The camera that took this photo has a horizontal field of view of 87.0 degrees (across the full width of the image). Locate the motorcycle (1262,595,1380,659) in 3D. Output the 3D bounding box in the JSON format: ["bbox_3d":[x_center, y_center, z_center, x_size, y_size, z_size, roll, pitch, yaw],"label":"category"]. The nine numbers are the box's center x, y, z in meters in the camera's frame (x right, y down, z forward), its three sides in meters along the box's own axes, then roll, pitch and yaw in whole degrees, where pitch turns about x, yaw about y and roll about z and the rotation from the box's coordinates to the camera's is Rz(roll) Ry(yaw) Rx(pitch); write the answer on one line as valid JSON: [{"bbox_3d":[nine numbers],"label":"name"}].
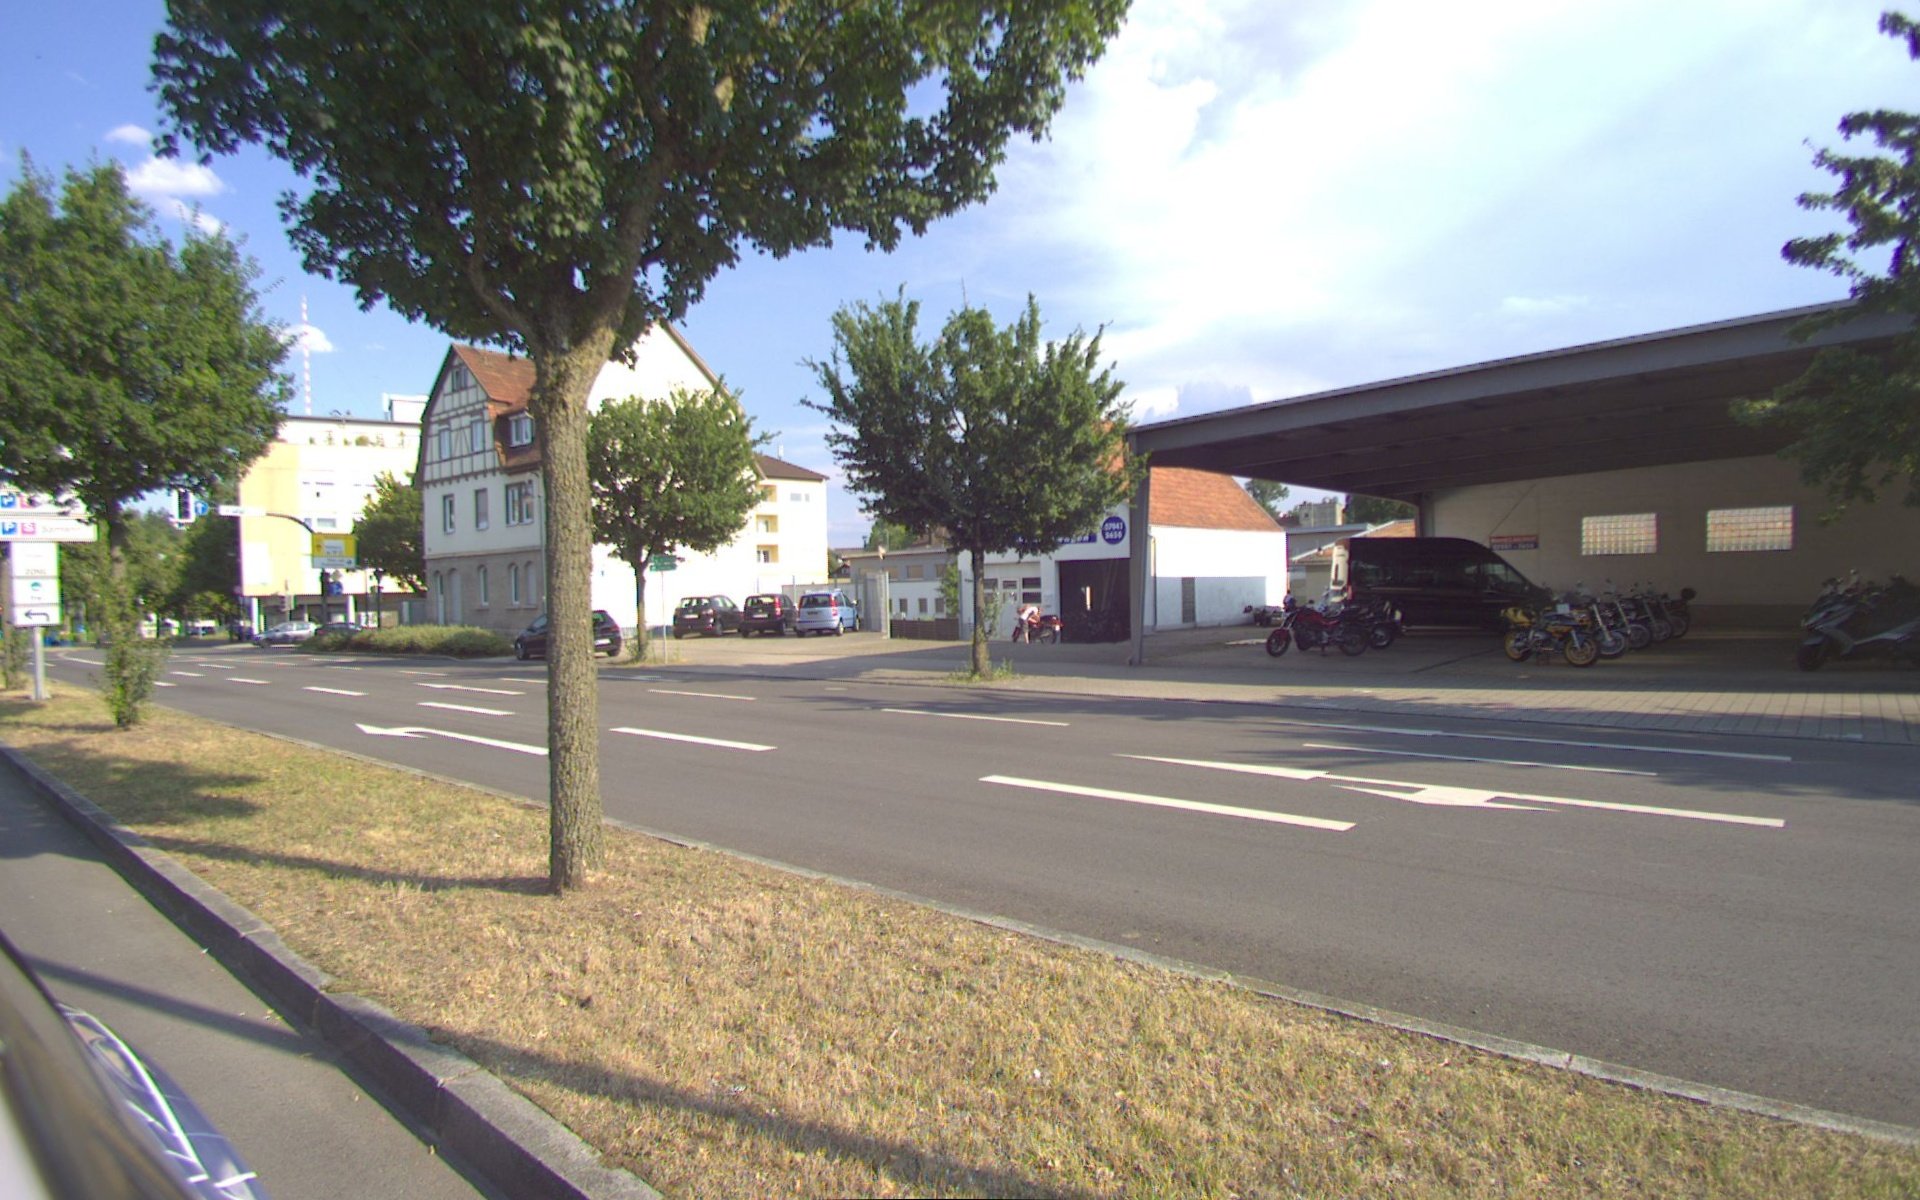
[{"bbox_3d":[7.514,0.560,21.145,2.202,1.290,0.629,-1,0,11],"label":"motorcycle"}]

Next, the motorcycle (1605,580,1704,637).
[{"bbox_3d":[17.308,0.219,25.289,0.621,1.347,2.269,-1,0,-9],"label":"motorcycle"}]

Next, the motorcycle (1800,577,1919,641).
[{"bbox_3d":[20.246,0.206,22.630,2.103,1.306,0.628,-3,-1,17],"label":"motorcycle"}]

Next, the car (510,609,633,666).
[{"bbox_3d":[-11.583,1.078,30.060,3.823,1.462,1.795,-1,2,42],"label":"car"}]

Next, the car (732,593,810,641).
[{"bbox_3d":[-6.905,0.585,37.291,1.797,1.512,3.819,-3,2,5],"label":"car"}]

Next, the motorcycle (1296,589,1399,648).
[{"bbox_3d":[9.396,0.451,24.593,2.198,1.372,0.630,-1,0,5],"label":"motorcycle"}]

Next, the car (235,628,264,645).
[{"bbox_3d":[-79.492,4.057,113.260,1.752,1.706,4.013,-1,0,-21],"label":"car"}]

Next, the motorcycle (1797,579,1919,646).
[{"bbox_3d":[19.052,0.256,21.275,2.103,1.306,0.628,-3,-1,17],"label":"motorcycle"}]

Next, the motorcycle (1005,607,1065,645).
[{"bbox_3d":[2.451,0.838,33.195,1.974,1.194,0.577,-1,0,41],"label":"motorcycle"}]

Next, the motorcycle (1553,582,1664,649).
[{"bbox_3d":[13.882,0.323,21.755,0.621,1.347,2.269,-1,0,-9],"label":"motorcycle"}]

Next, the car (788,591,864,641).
[{"bbox_3d":[-4.666,0.519,35.662,1.797,1.512,3.819,-3,2,5],"label":"car"}]

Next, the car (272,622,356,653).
[{"bbox_3d":[-37.077,2.126,58.079,3.934,1.644,1.865,-1,0,-36],"label":"car"}]

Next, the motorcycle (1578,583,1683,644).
[{"bbox_3d":[15.554,0.301,23.565,0.621,1.347,2.269,-1,0,-9],"label":"motorcycle"}]

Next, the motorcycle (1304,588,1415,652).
[{"bbox_3d":[8.974,0.449,22.789,2.198,1.372,0.630,-1,0,5],"label":"motorcycle"}]

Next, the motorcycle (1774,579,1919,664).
[{"bbox_3d":[14.931,0.360,16.761,2.103,1.306,0.628,-3,-1,17],"label":"motorcycle"}]

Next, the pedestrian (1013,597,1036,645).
[{"bbox_3d":[2.089,0.675,32.749,0.485,1.530,0.496,-1,0,41],"label":"pedestrian"}]

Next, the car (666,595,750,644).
[{"bbox_3d":[-9.305,0.689,37.683,1.797,1.512,3.819,-3,2,5],"label":"car"}]

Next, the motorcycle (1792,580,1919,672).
[{"bbox_3d":[13.879,0.373,15.101,2.103,1.306,0.628,-3,-1,17],"label":"motorcycle"}]

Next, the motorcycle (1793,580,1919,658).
[{"bbox_3d":[16.549,0.339,18.334,2.103,1.306,0.628,-3,-1,17],"label":"motorcycle"}]

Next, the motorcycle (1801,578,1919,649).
[{"bbox_3d":[18.063,0.268,19.974,2.103,1.306,0.628,-3,-1,17],"label":"motorcycle"}]

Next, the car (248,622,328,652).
[{"bbox_3d":[-40.483,2.217,60.982,3.934,1.644,1.865,-1,0,-36],"label":"car"}]

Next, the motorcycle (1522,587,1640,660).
[{"bbox_3d":[12.176,0.436,19.941,0.621,1.347,2.269,-1,0,-9],"label":"motorcycle"}]

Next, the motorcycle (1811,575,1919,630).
[{"bbox_3d":[23.751,0.073,26.507,2.103,1.306,0.628,-3,-1,17],"label":"motorcycle"}]

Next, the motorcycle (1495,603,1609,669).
[{"bbox_3d":[10.549,0.617,18.137,0.621,1.095,2.038,-1,0,-8],"label":"motorcycle"}]

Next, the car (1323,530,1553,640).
[{"bbox_3d":[12.883,-0.379,27.614,5.221,2.773,1.996,-1,0,7],"label":"car"}]
